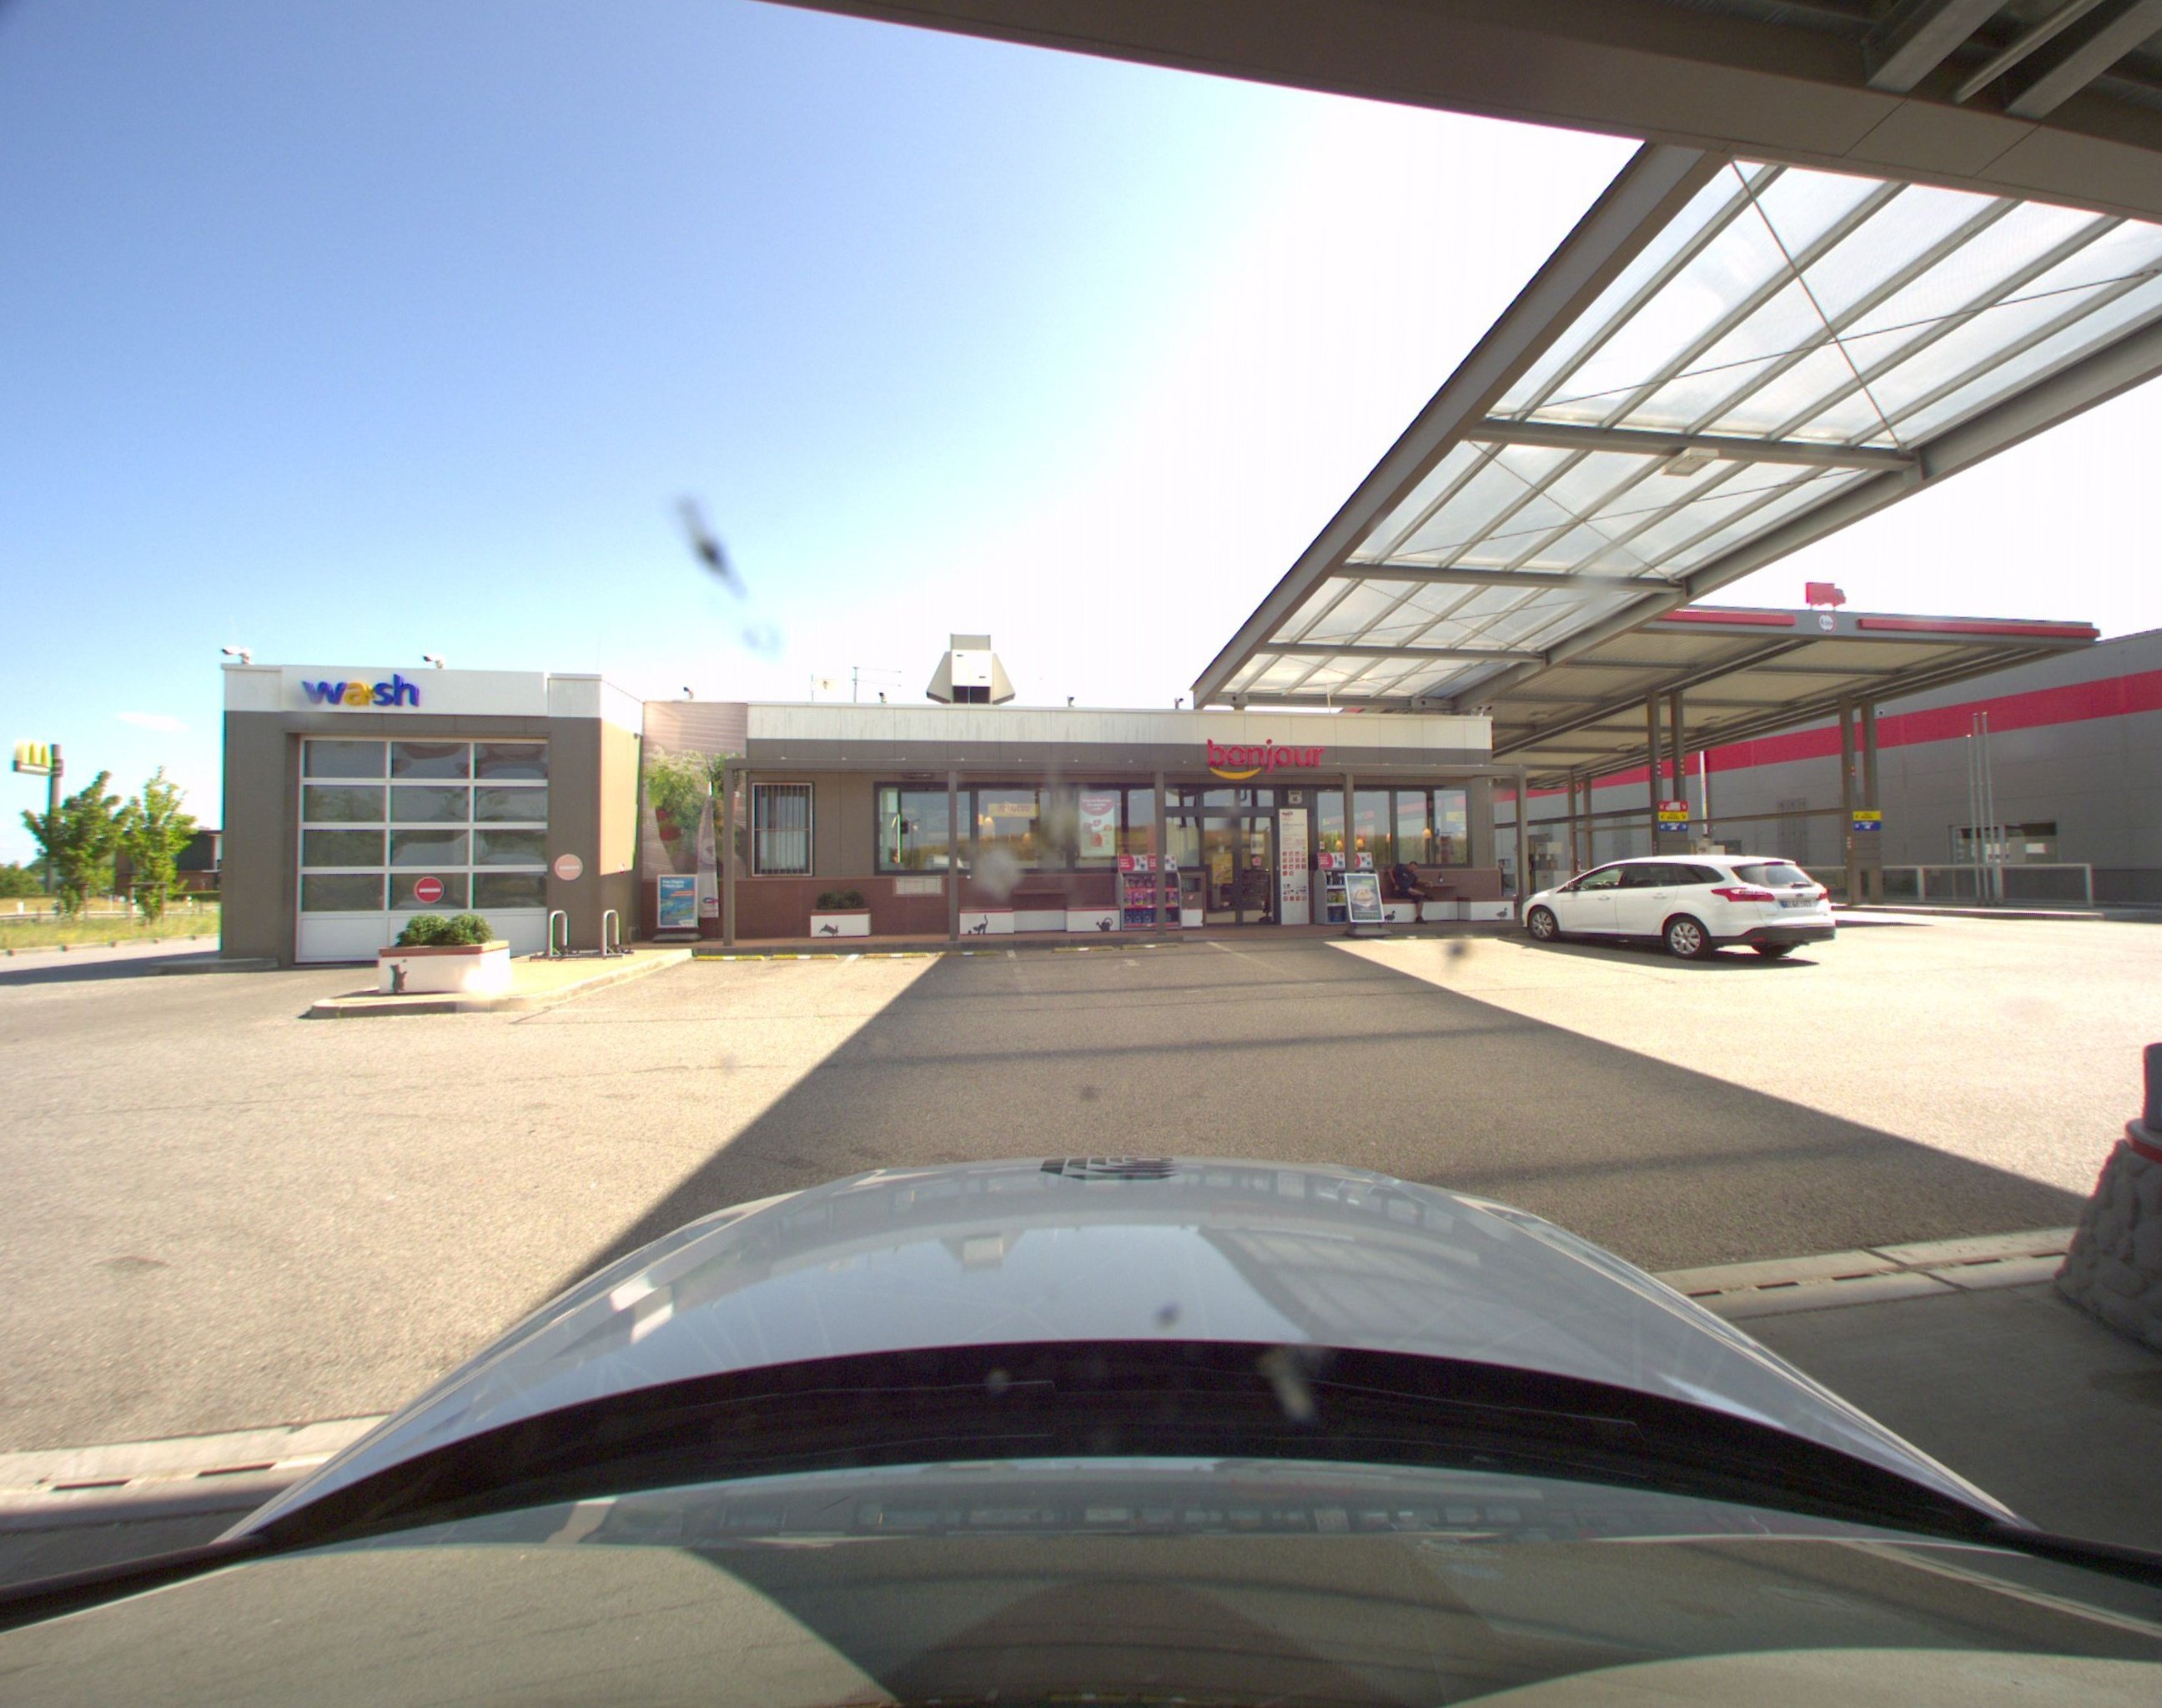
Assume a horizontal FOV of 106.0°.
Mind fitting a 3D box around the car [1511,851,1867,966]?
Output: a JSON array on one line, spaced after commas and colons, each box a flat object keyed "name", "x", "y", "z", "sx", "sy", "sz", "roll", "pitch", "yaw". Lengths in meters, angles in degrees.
[{"name": "car", "x": 9.184, "y": 0.731, "z": 12.847, "sx": 1.833, "sy": 1.457, "sz": 4.299, "roll": -1, "pitch": -1, "yaw": -15}]

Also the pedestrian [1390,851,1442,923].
[{"name": "pedestrian", "x": 6.824, "y": 0.659, "z": 16.610, "sx": 0.701, "sy": 1.432, "sz": 0.670, "roll": -1, "pitch": -1, "yaw": -10}]

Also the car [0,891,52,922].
[{"name": "car", "x": -57.717, "y": 2.818, "z": 43.109, "sx": 1.796, "sy": 1.596, "sz": 3.987, "roll": -1, "pitch": -1, "yaw": -9}]
